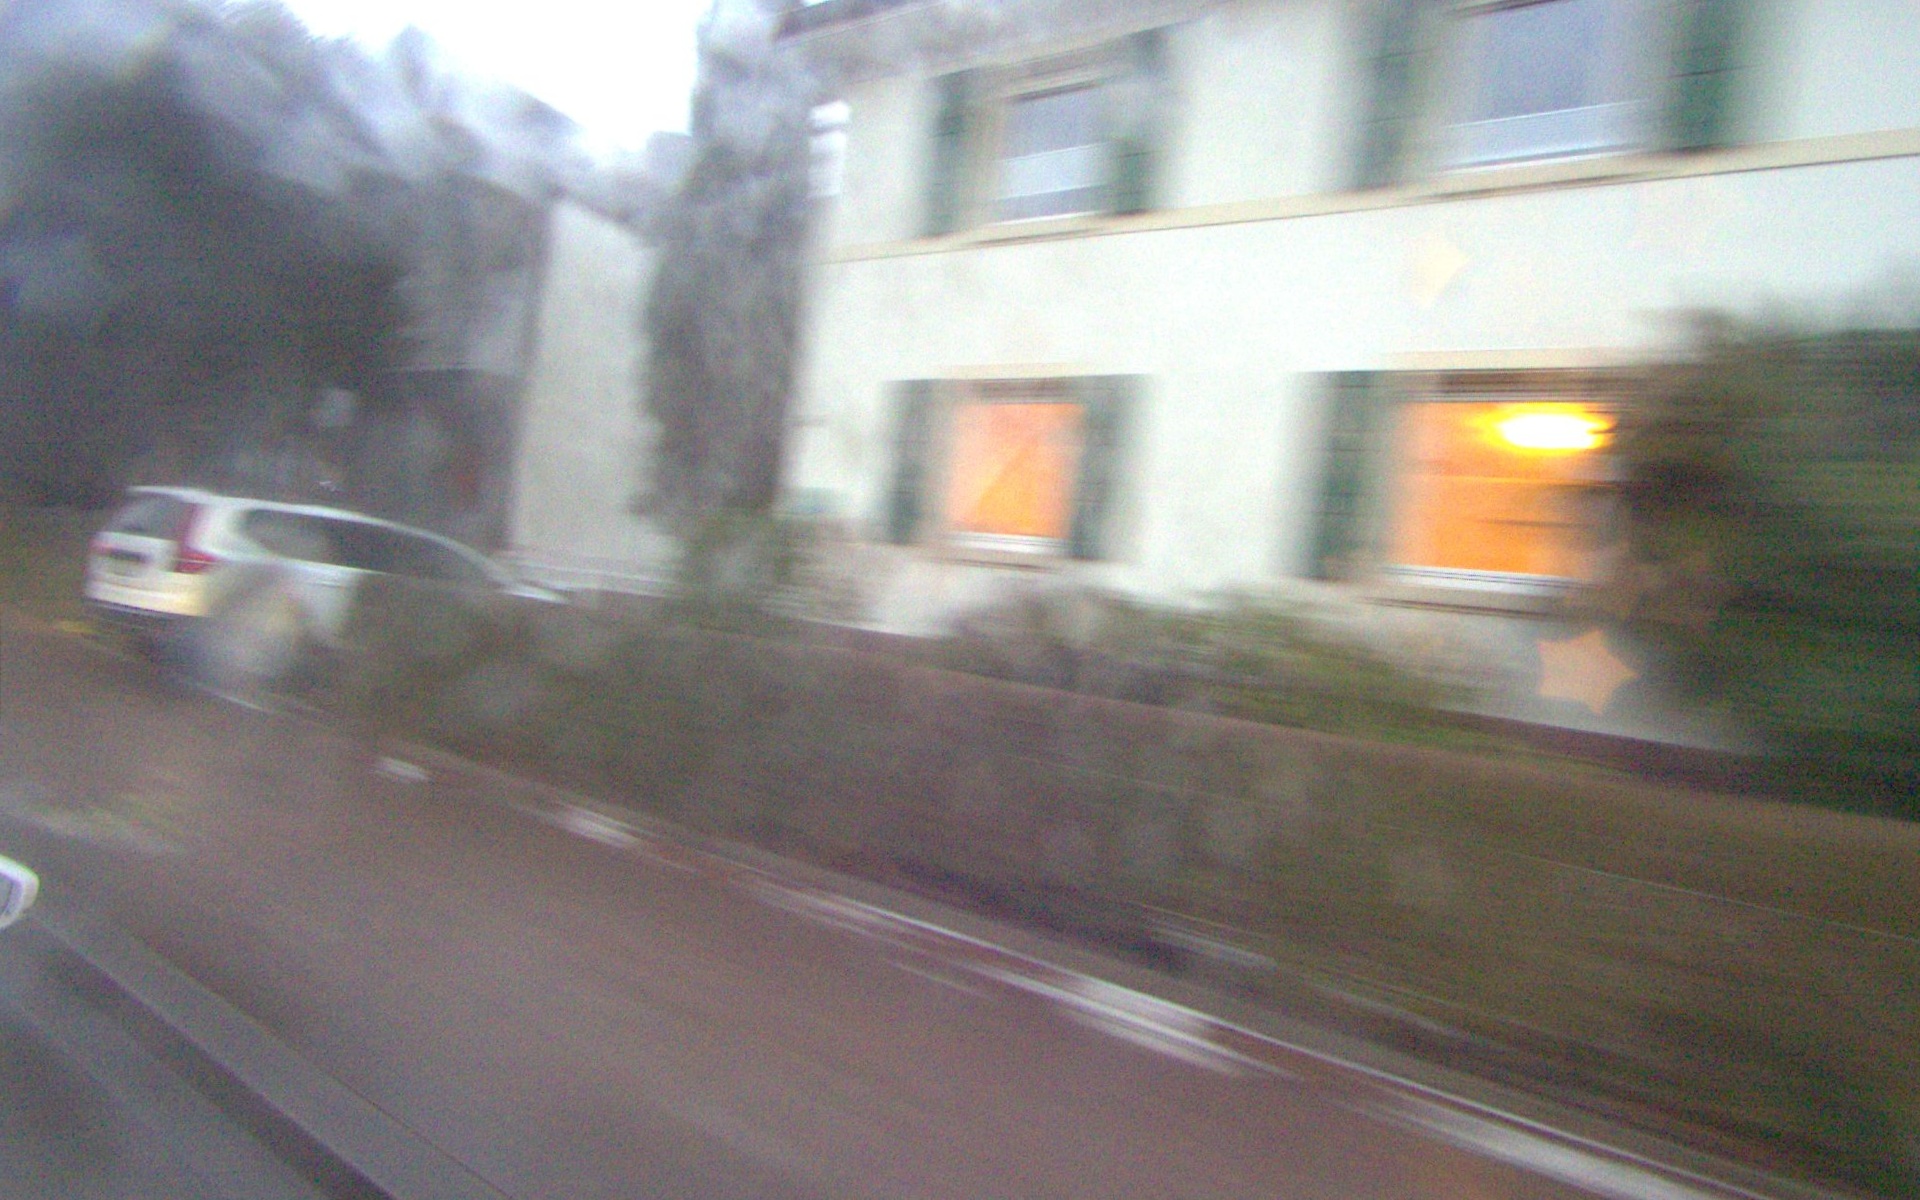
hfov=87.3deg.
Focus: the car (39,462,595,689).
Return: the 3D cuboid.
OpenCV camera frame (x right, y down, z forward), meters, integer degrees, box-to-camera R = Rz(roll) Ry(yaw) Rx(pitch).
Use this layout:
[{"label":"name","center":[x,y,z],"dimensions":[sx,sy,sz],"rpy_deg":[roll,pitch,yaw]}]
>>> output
[{"label":"car","center":[-6.253,-0.128,10.386],"dimensions":[1.966,1.753,4.330],"rpy_deg":[7,0,29]}]
